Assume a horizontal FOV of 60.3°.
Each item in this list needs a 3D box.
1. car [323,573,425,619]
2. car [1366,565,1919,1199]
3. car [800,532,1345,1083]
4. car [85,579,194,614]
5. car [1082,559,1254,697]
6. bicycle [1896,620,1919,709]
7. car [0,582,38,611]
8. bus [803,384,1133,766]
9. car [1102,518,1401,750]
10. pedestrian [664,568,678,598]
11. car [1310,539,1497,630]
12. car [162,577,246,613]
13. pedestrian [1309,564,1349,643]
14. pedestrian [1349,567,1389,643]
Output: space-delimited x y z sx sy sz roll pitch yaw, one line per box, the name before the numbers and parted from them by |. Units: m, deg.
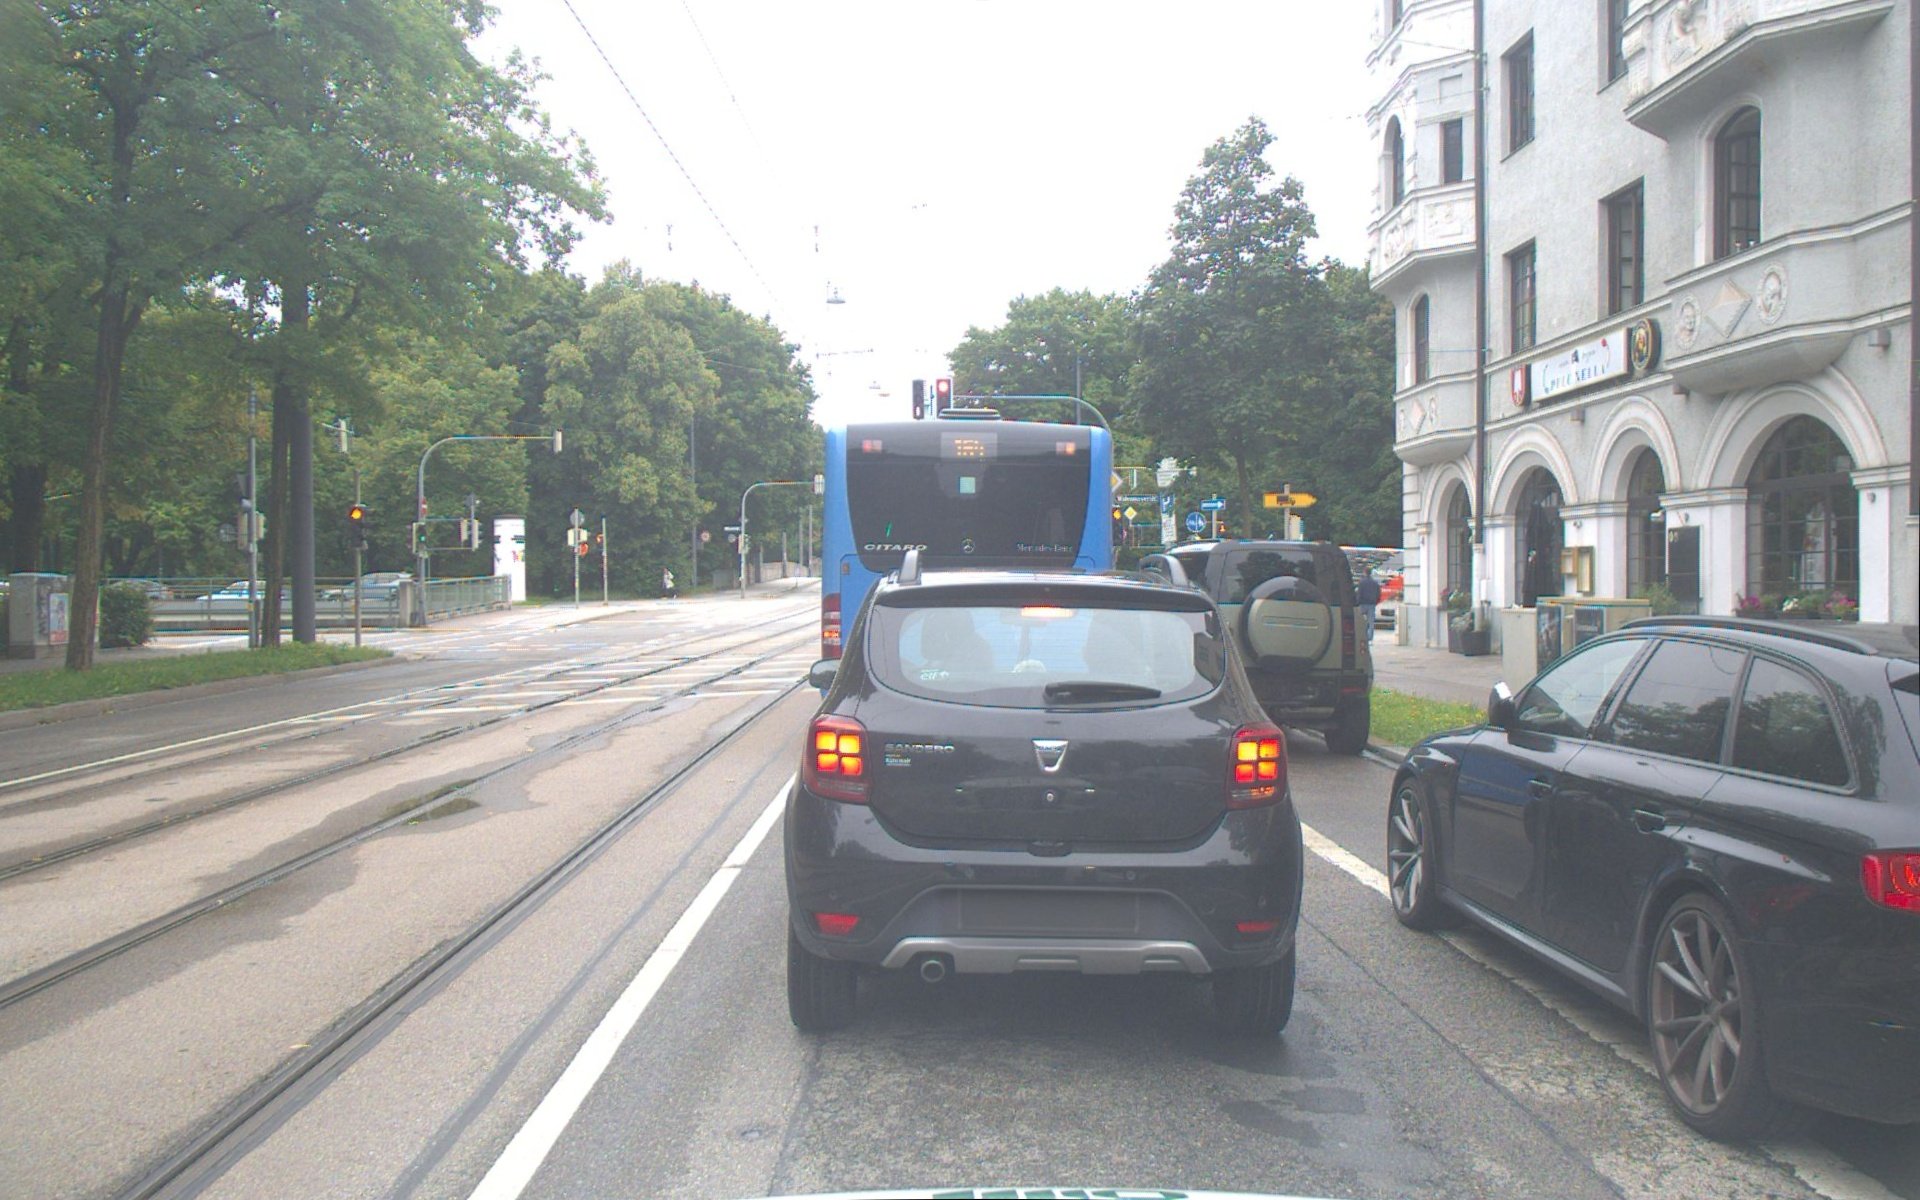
car | -25.779 -0.181 72.853 3.946 1.920 1.488 1 0 -8
car | 2.910 0.657 5.875 1.681 1.451 4.601 1 0 -1
car | 0.294 0.604 6.610 1.568 1.584 3.524 1 0 -1
car | -35.624 -0.158 71.885 3.848 1.429 1.719 1 0 -5
car | 2.665 0.328 22.088 1.679 1.619 4.326 1 0 -1
bicycle | 10.449 0.697 17.780 0.254 0.947 0.886 1 0 0
car | -41.958 -0.170 71.296 3.656 1.206 1.249 1 0 -6
bus | -0.081 -0.216 16.970 2.625 3.050 6.957 1 0 -3
car | 2.701 0.277 16.511 1.876 1.939 4.805 1 0 -3
pedestrian | -14.468 -0.849 82.830 0.520 1.527 0.588 1 0 4
car | 13.793 -0.480 51.646 5.191 2.658 2.229 1 0 -4
car | -32.841 -0.220 71.919 3.050 1.477 1.249 1 0 -6
pedestrian | 8.774 0.084 39.343 0.690 1.848 0.869 1 0 -1
pedestrian | 9.568 0.113 38.726 0.690 1.762 0.843 1 0 -1
